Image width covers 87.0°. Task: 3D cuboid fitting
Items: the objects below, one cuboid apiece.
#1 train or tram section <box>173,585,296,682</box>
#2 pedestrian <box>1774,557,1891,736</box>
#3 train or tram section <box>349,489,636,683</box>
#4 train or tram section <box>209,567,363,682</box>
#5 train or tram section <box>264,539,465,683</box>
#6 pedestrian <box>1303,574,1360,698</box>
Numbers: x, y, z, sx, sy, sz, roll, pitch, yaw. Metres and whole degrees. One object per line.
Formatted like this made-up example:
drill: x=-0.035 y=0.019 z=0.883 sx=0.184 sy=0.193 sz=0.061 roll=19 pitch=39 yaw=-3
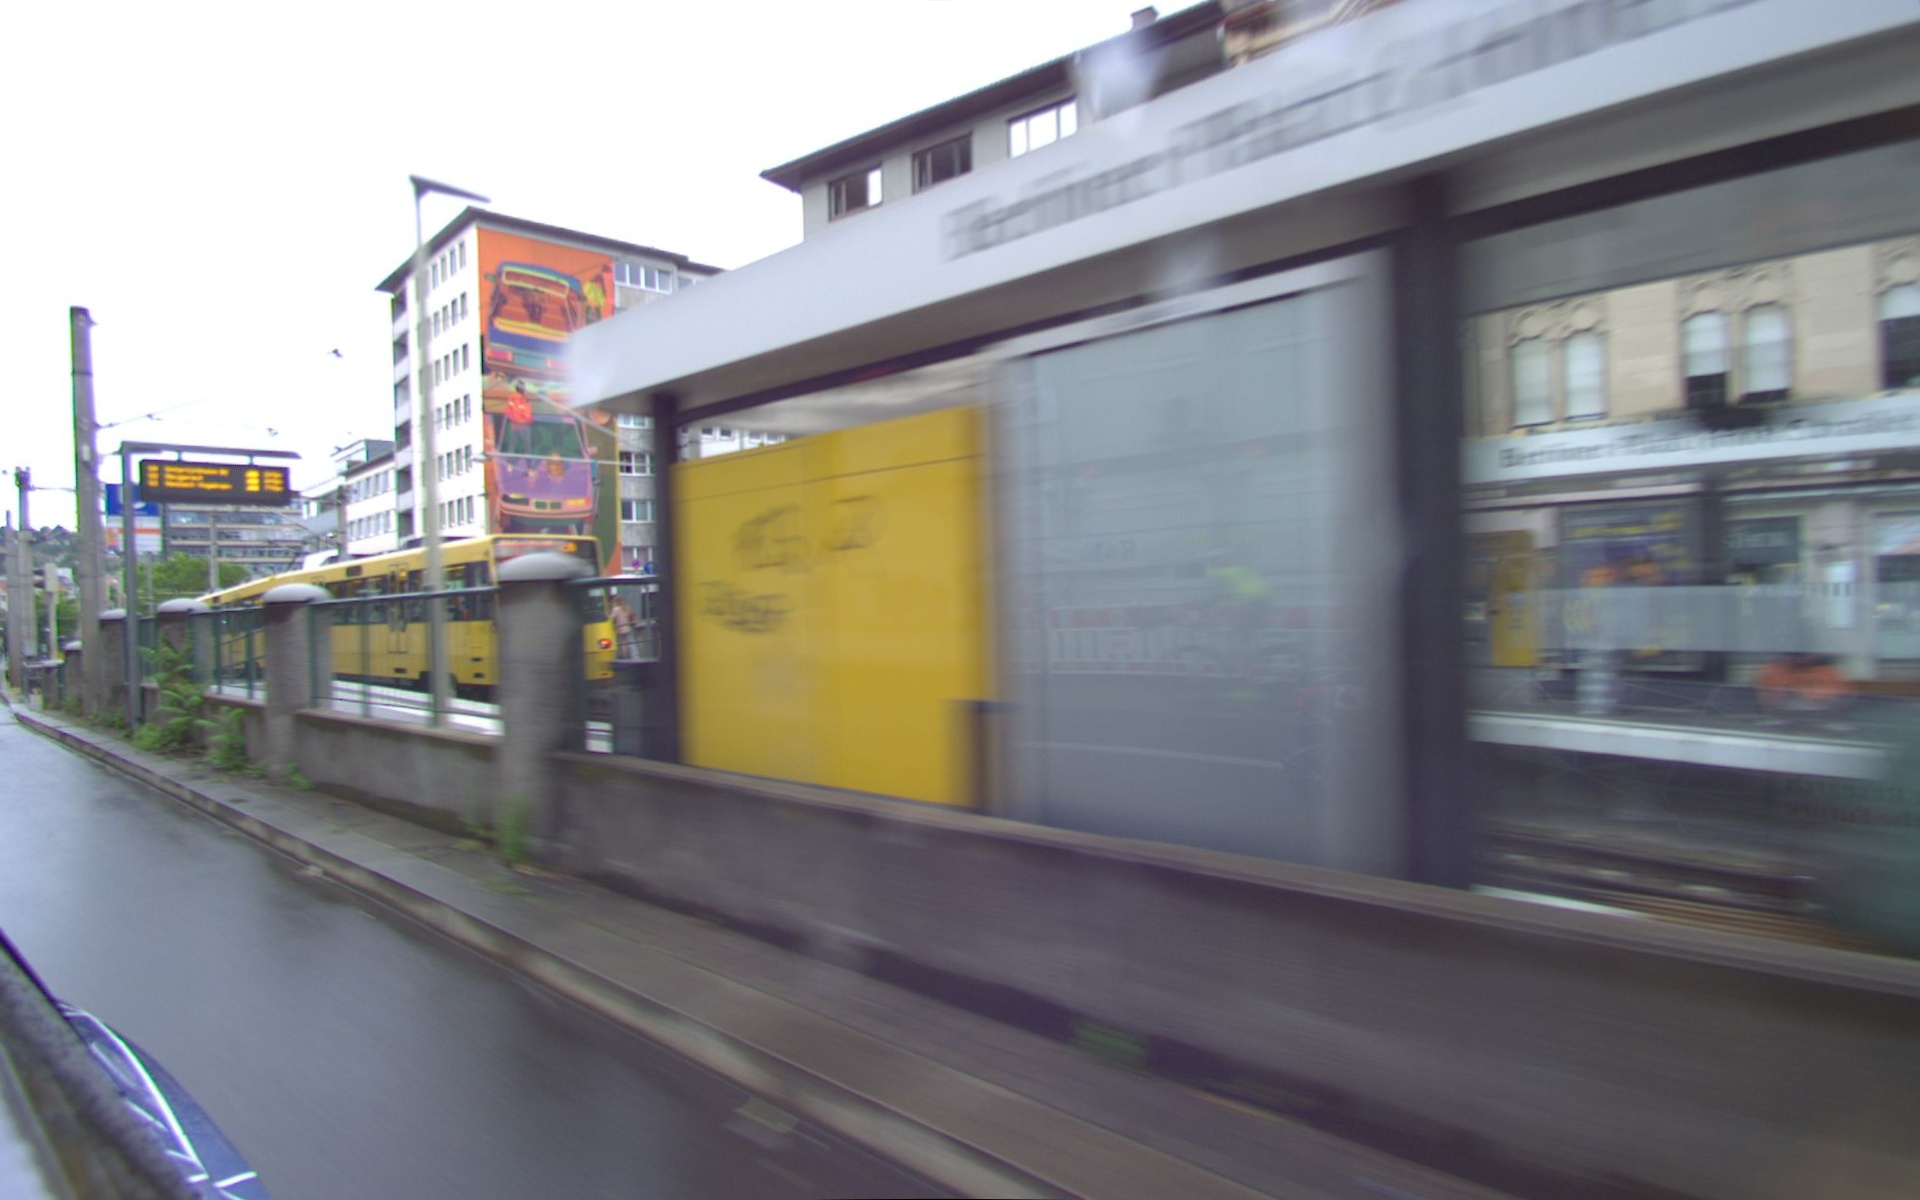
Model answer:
train or tram section: x=-31.499 y=1.546 z=43.731 sx=8.978 sy=3.720 sz=2.747 roll=-4 pitch=-1 yaw=45
pedestrian: x=8.533 y=0.469 z=9.906 sx=0.763 sy=1.661 sz=0.778 roll=7 pitch=-6 yaw=-44
train or tram section: x=-11.342 y=-0.056 z=23.792 sx=9.718 sy=3.720 sz=2.747 roll=-4 pitch=-1 yaw=45
train or tram section: x=-24.960 y=1.027 z=37.207 sx=9.513 sy=3.720 sz=2.747 roll=-4 pitch=-1 yaw=45
train or tram section: x=-18.206 y=0.487 z=30.532 sx=9.513 sy=3.720 sz=2.747 roll=-4 pitch=-1 yaw=45
pedestrian: x=4.782 y=0.477 z=13.022 sx=0.516 sy=1.549 sz=0.551 roll=-2 pitch=-5 yaw=42
